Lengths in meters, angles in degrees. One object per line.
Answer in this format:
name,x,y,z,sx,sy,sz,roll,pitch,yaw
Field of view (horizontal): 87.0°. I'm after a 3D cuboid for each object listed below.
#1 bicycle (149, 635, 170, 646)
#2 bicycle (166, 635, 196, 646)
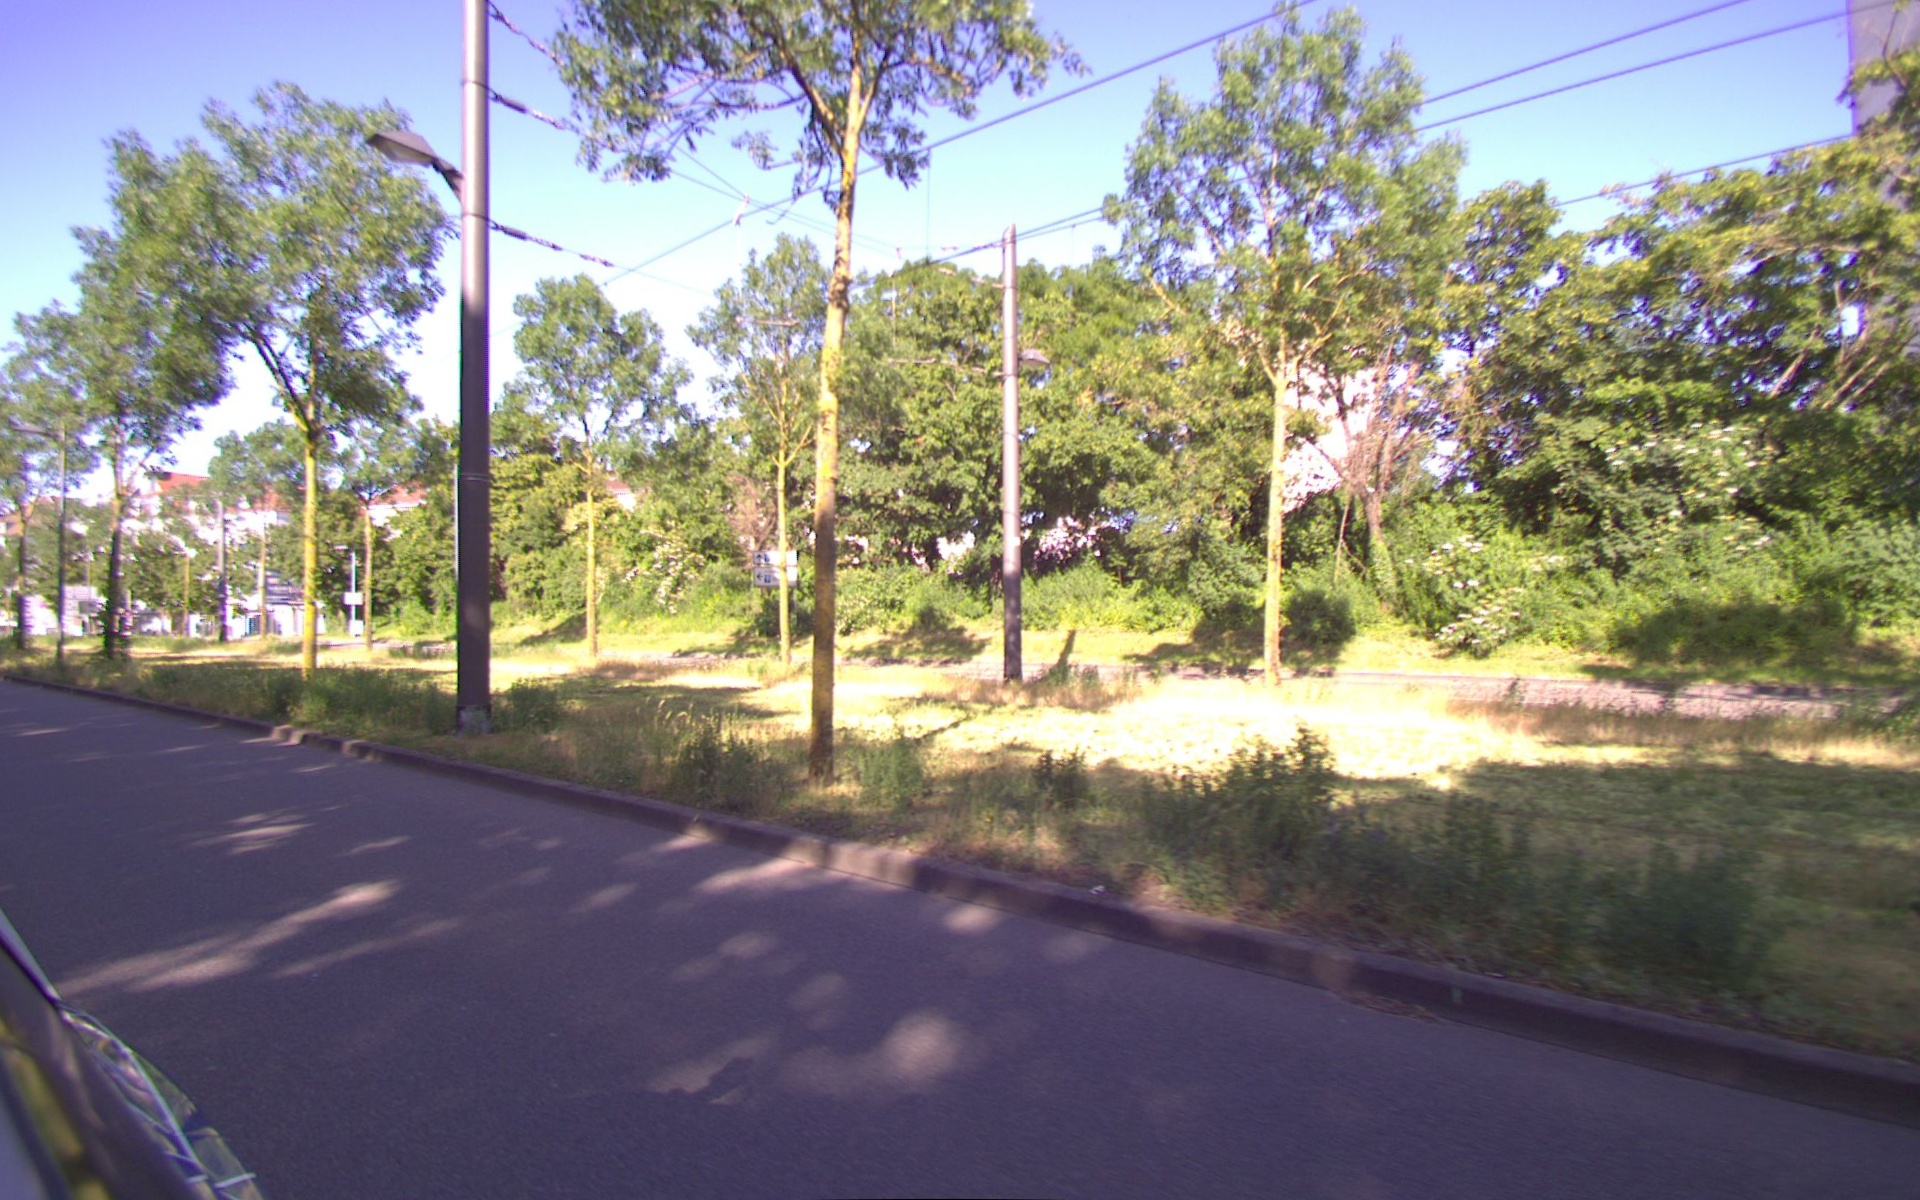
bicycle,-87.464,4.444,110.587,2.538,1.222,0.713,-2,-2,26
bicycle,-85.357,4.440,110.884,0.715,1.222,2.531,-2,-2,25
